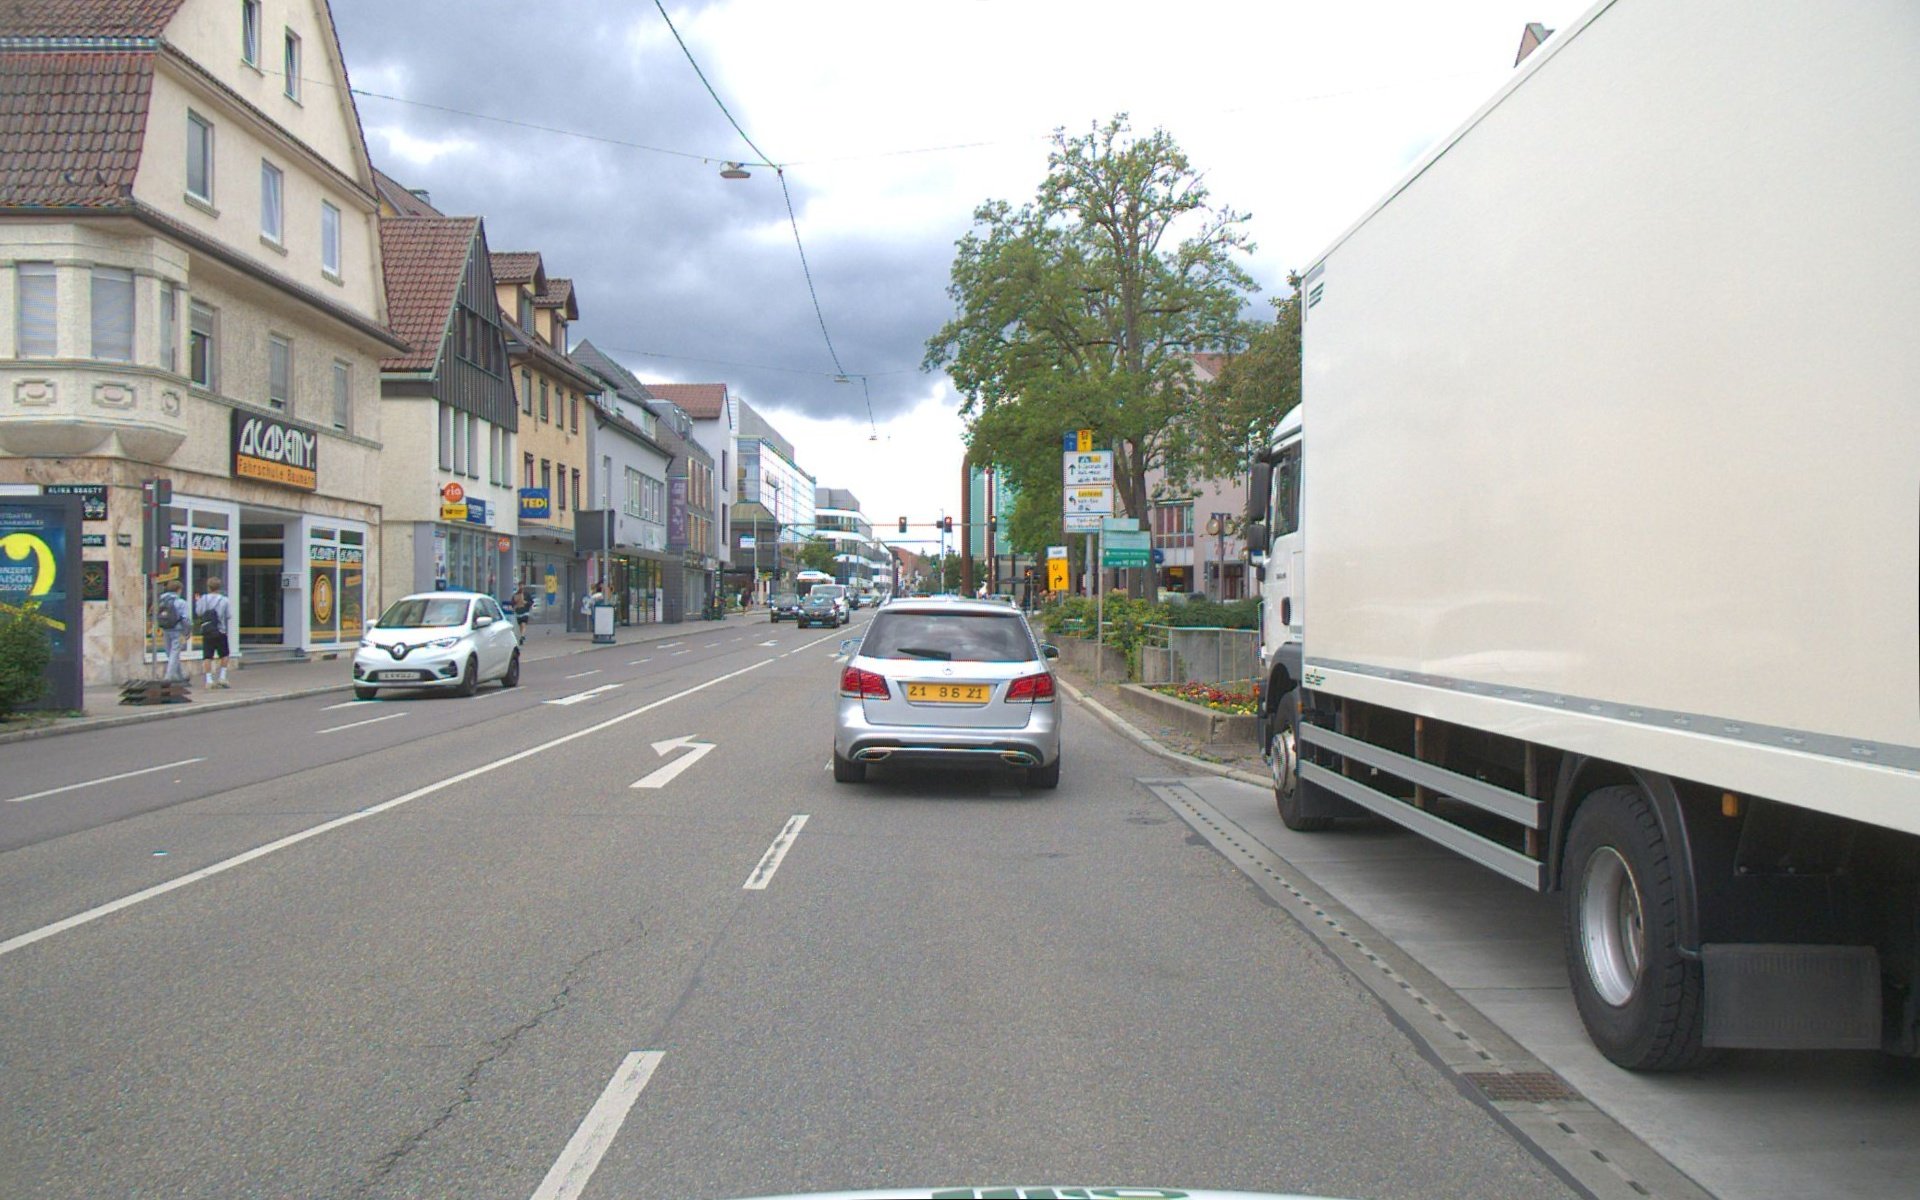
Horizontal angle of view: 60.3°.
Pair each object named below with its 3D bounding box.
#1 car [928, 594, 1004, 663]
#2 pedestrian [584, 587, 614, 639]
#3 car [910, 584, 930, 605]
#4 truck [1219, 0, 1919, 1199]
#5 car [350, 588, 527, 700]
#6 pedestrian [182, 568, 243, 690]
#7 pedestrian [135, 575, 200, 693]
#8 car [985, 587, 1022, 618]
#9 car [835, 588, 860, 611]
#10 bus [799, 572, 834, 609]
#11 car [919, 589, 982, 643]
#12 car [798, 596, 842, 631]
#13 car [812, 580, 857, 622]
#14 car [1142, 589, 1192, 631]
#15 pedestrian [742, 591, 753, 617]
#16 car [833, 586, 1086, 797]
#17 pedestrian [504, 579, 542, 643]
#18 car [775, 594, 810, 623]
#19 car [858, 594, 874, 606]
[{"bbox_3d":[0.110,0.661,39.421,1.719,1.547,3.999,0,0,-1],"label":"car"},{"bbox_3d":[-11.769,0.417,53.960,0.801,1.663,0.979,2,0,-6],"label":"pedestrian"},{"bbox_3d":[-4.038,-0.534,166.136,1.953,2.049,3.999,0,0,-1],"label":"car"},{"bbox_3d":[3.340,-0.429,7.599,2.634,3.623,9.764,0,0,-1],"label":"truck"},{"bbox_3d":[-8.016,0.643,25.767,1.607,1.595,3.925,0,0,-2],"label":"car"},{"bbox_3d":[-11.590,0.443,25.666,0.620,1.856,0.680,-1,0,-1],"label":"pedestrian"},{"bbox_3d":[-12.304,0.520,25.696,0.673,1.792,0.680,-1,0,-1],"label":"pedestrian"},{"bbox_3d":[2.417,0.120,92.513,1.953,1.713,4.000,0,0,0],"label":"car"},{"bbox_3d":[-10.070,-0.061,148.633,1.953,2.049,4.000,0,0,0],"label":"car"},{"bbox_3d":[-12.835,-0.849,148.375,2.718,3.220,5.932,0,0,0],"label":"bus"},{"bbox_3d":[-0.314,0.499,53.879,1.953,1.713,4.000,0,0,0],"label":"car"},{"bbox_3d":[-6.195,0.580,73.519,1.584,1.453,3.922,-1,0,0],"label":"car"},{"bbox_3d":[-6.303,0.036,83.681,1.921,1.995,5.139,-1,0,-1],"label":"car"},{"bbox_3d":[9.564,0.447,76.531,1.828,1.897,4.000,0,0,0],"label":"car"},{"bbox_3d":[-13.609,0.243,105.903,0.574,1.663,0.614,3,0,-3],"label":"pedestrian"},{"bbox_3d":[-0.089,0.671,14.088,1.837,1.532,3.998,1,0,-3],"label":"car"},{"bbox_3d":[-12.569,0.314,47.637,0.850,1.777,0.805,3,0,-5],"label":"pedestrian"},{"bbox_3d":[-9.285,0.434,91.686,1.584,1.550,3.507,-1,0,-1],"label":"car"},{"bbox_3d":[-10.141,0.034,178.000,1.542,1.266,3.606,0,0,0],"label":"car"}]
